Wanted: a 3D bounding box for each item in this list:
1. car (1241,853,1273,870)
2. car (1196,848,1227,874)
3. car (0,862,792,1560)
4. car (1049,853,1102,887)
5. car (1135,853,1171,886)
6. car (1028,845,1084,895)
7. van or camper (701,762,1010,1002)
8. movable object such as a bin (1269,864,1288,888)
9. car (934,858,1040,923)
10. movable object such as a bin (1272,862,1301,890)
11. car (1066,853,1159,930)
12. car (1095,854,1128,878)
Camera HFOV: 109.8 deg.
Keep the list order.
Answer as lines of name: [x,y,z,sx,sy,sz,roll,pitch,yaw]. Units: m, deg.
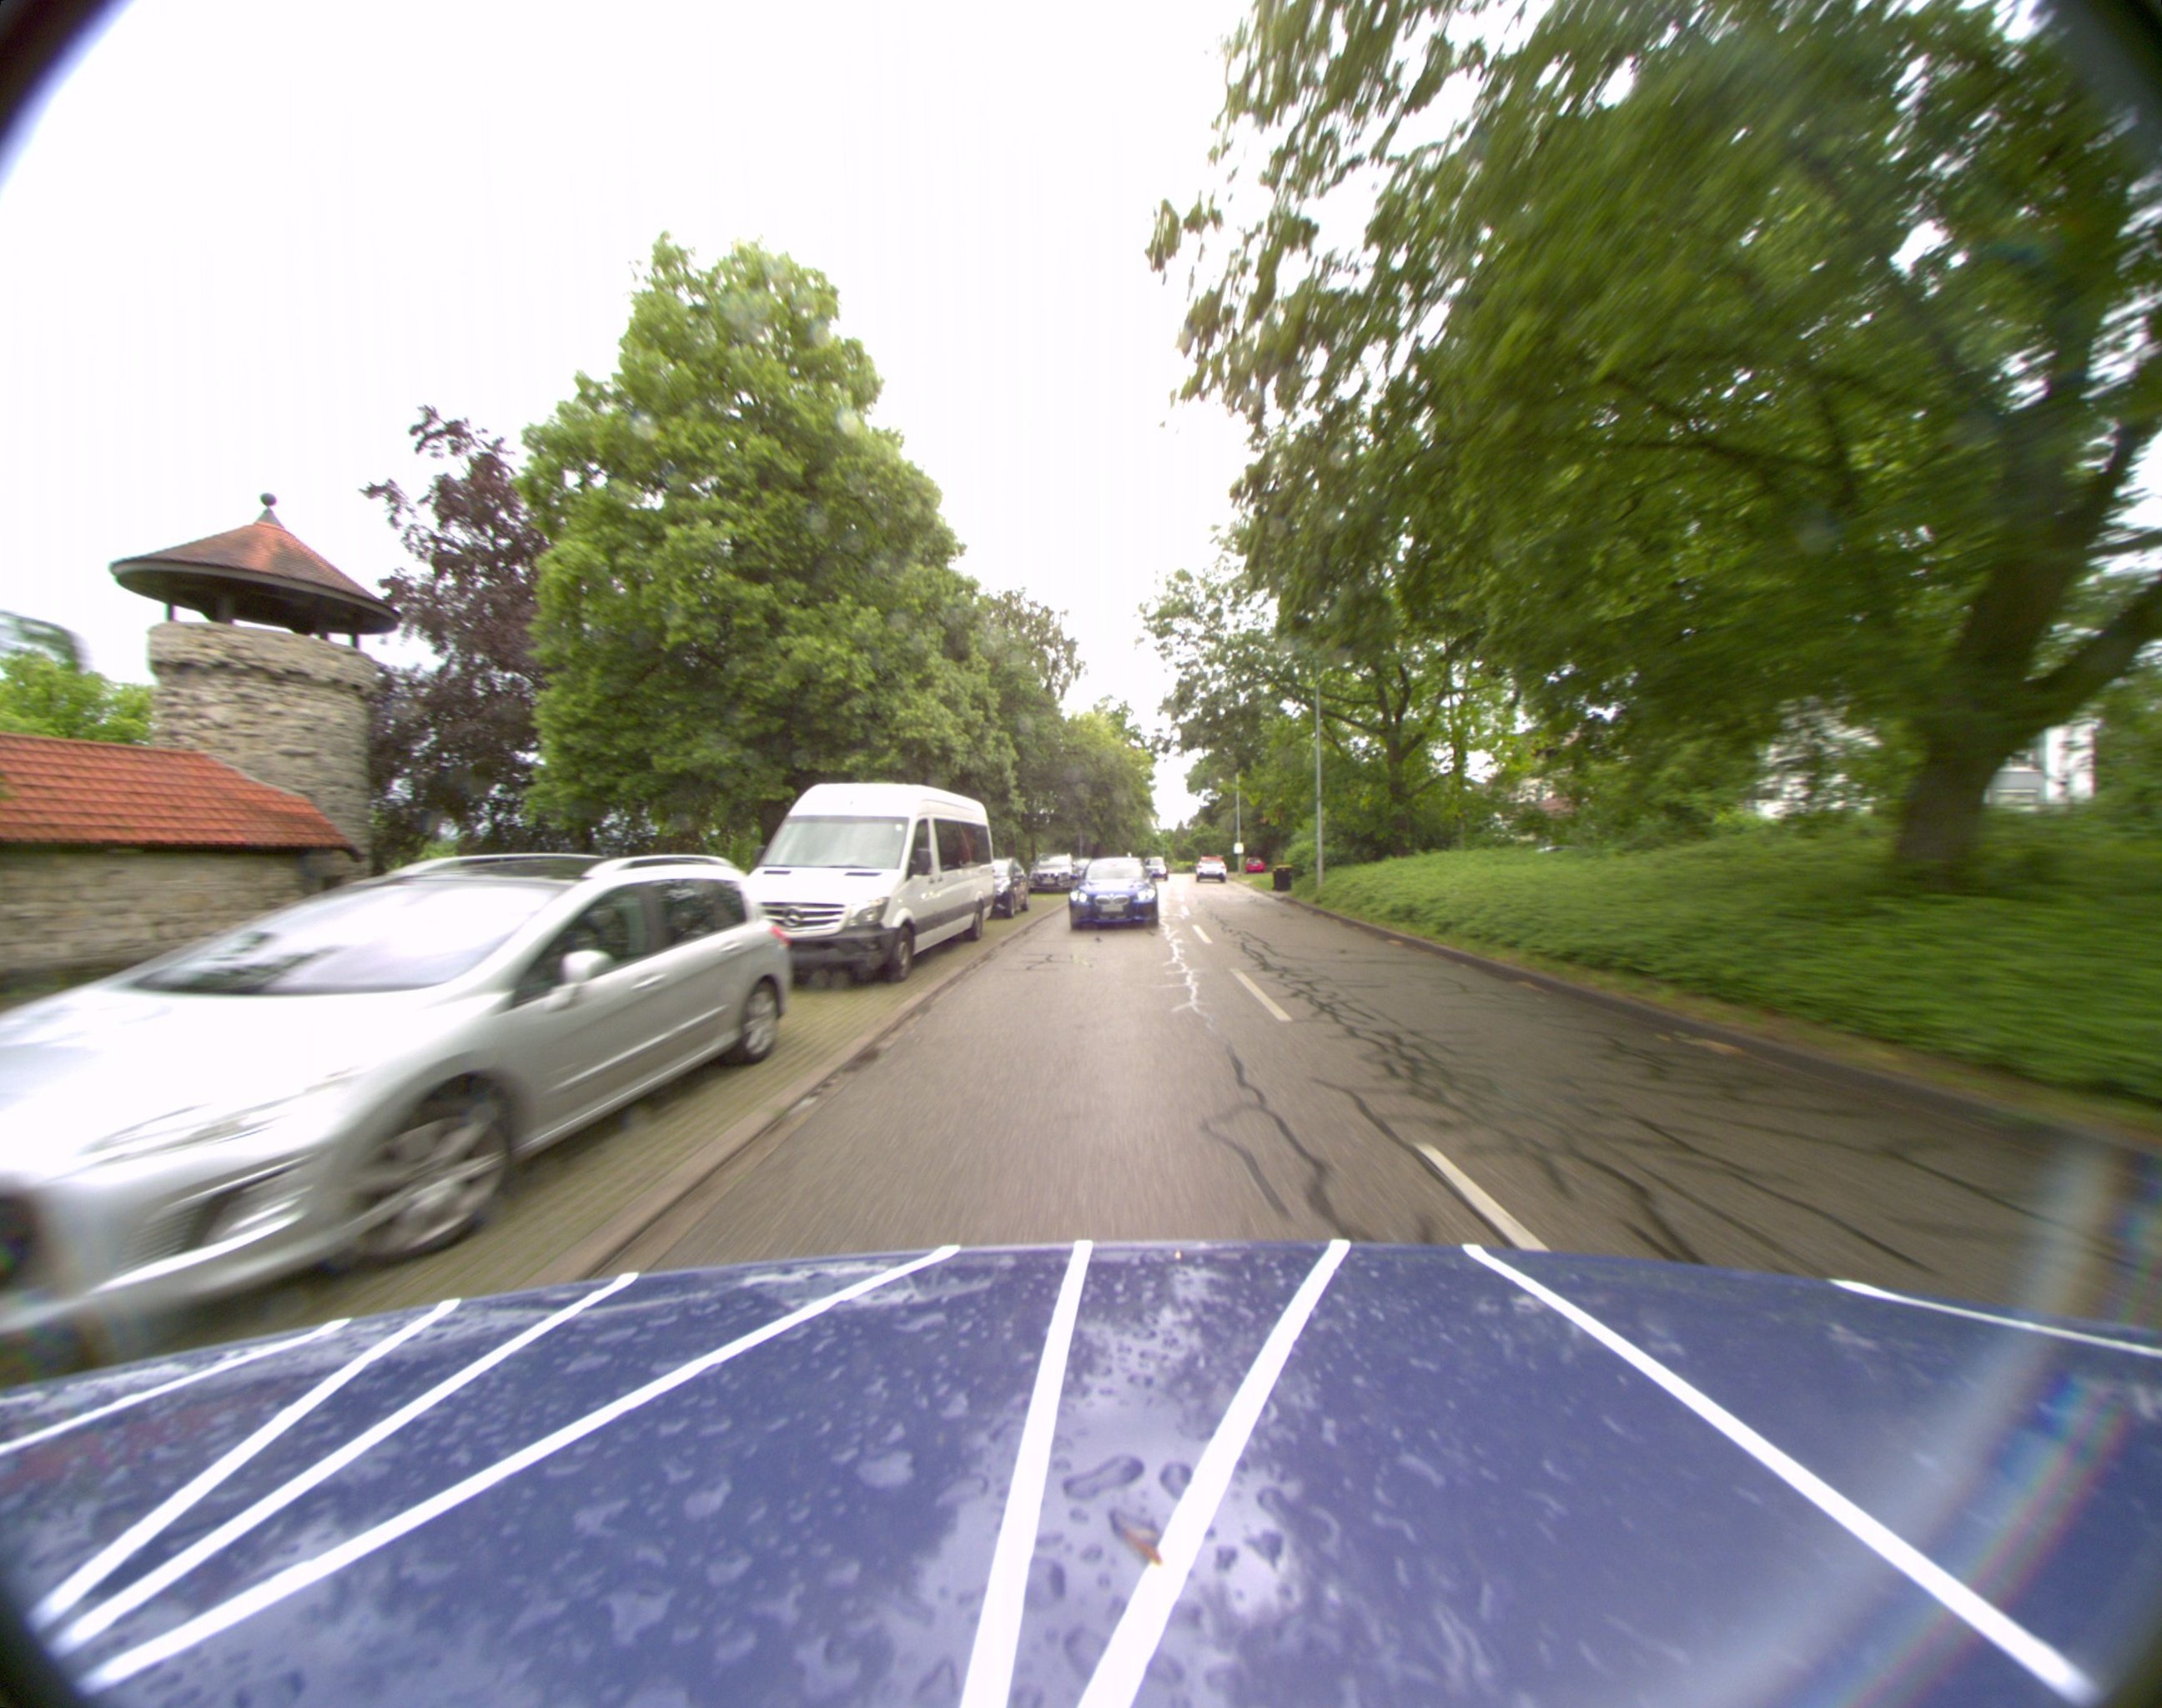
car: [17.081,0.702,73.720,1.999,1.508,3.998,-2,2,-2]
car: [7.791,0.402,45.719,1.669,1.469,3.734,2,0,7]
car: [-3.291,0.871,3.948,1.809,1.530,4.267,2,1,2]
car: [-0.205,0.734,36.319,1.746,1.444,4.003,-3,-1,10]
car: [4.668,0.972,48.800,1.997,2.001,4.004,-1,-1,9]
car: [-0.955,0.729,31.367,1.785,1.708,4.267,-2,-5,4]
van or camper: [-2.836,0.325,12.406,2.020,2.567,8.438,0,0,4]
movable object such as a bin: [8.428,0.931,32.458,0.649,0.973,0.578,3,1,8]
car: [-2.265,0.848,19.388,1.869,1.502,3.726,0,0,6]
movable object such as a bin: [8.535,0.909,31.656,1.039,1.098,0.967,-2,0,10]
car: [0.778,0.792,17.092,1.838,1.501,4.002,-1,-1,5]
car: [2.043,0.753,50.054,1.703,1.453,4.220,1,0,9]
